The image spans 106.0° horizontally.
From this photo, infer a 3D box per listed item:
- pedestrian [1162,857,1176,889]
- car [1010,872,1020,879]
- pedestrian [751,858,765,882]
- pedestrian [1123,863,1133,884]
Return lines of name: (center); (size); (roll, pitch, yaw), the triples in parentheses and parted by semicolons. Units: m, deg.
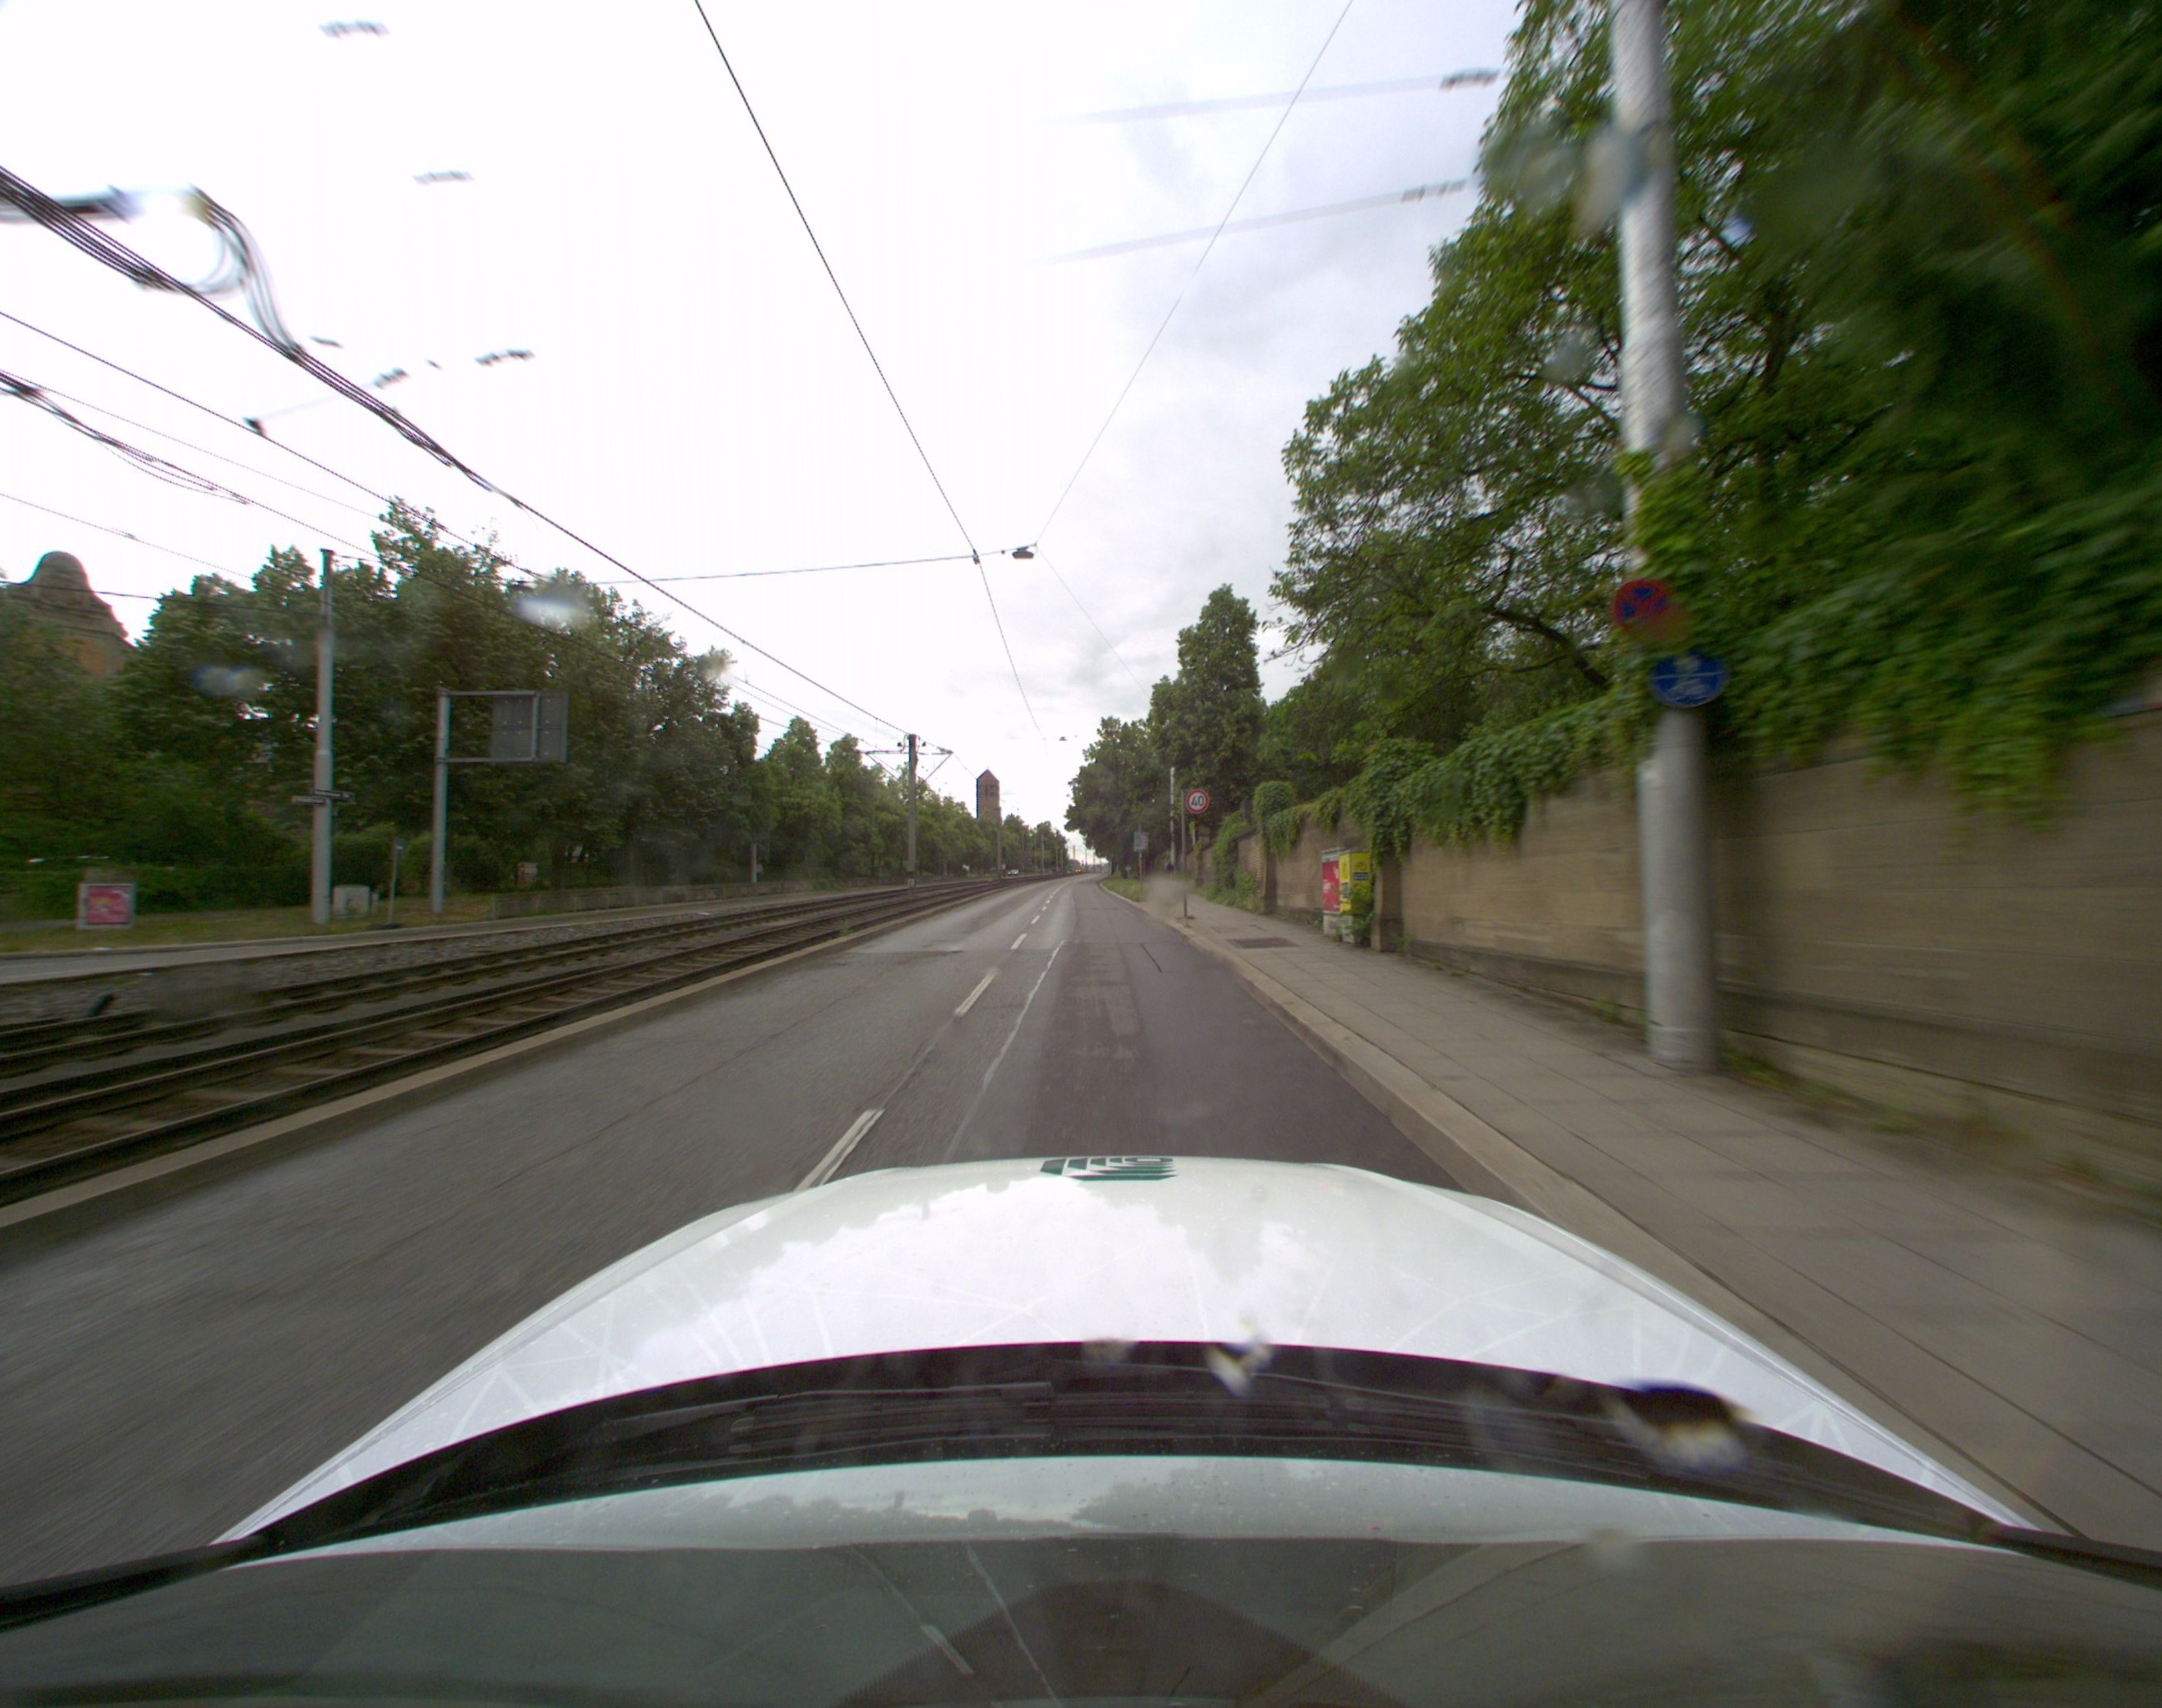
pedestrian: (5.080, 1.079, 47.000); (0.717, 1.850, 0.783); (0, -1, 2)
car: (-14.417, 4.711, 178.046); (1.787, 1.510, 3.850); (-1, -1, 2)
pedestrian: (-23.390, 1.161, 58.956); (0.645, 1.661, 0.650); (-3, 0, 2)
pedestrian: (3.673, 1.513, 63.430); (0.717, 1.687, 0.729); (0, -1, 2)
